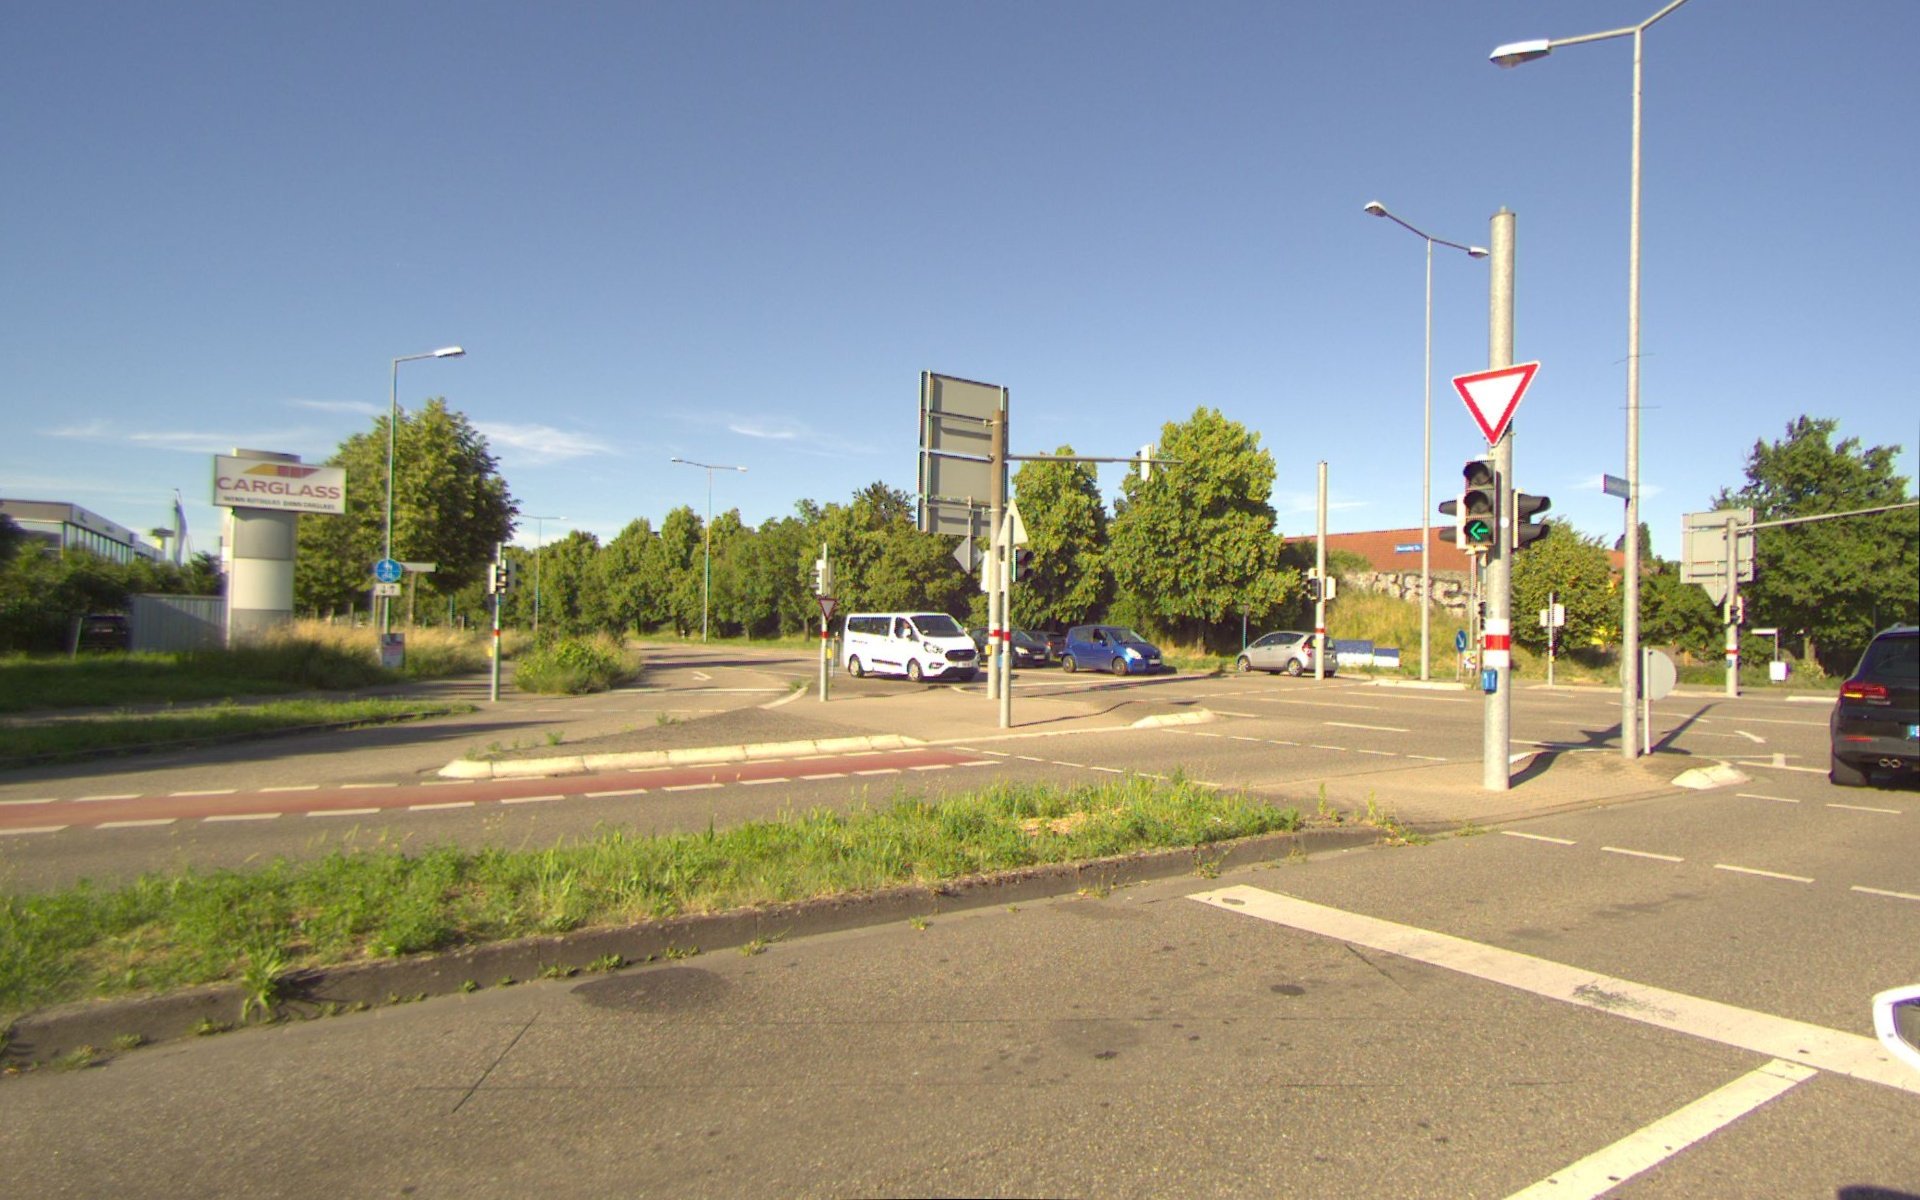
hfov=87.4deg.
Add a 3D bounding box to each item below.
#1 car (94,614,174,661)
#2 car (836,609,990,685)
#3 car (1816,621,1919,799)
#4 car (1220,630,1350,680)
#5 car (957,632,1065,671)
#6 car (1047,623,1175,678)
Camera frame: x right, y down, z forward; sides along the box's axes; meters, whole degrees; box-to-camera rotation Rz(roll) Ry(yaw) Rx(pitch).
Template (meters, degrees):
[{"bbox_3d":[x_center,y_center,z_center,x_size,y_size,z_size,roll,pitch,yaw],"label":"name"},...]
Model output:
[{"bbox_3d":[-34.504,1.546,42.067,1.977,1.751,3.966,2,0,-31],"label":"car"},{"bbox_3d":[-1.503,1.324,29.608,2.028,2.040,5.222,0,-1,-36],"label":"car"},{"bbox_3d":[10.556,1.088,10.491,3.967,1.649,1.812,2,-2,-39],"label":"car"},{"bbox_3d":[11.699,1.942,36.469,2.020,1.637,4.390,0,-1,-26],"label":"car"},{"bbox_3d":[1.823,1.839,36.898,1.875,1.291,3.999,0,-1,-36],"label":"car"},{"bbox_3d":[4.857,1.578,32.739,1.875,1.666,3.999,0,-1,-36],"label":"car"}]
